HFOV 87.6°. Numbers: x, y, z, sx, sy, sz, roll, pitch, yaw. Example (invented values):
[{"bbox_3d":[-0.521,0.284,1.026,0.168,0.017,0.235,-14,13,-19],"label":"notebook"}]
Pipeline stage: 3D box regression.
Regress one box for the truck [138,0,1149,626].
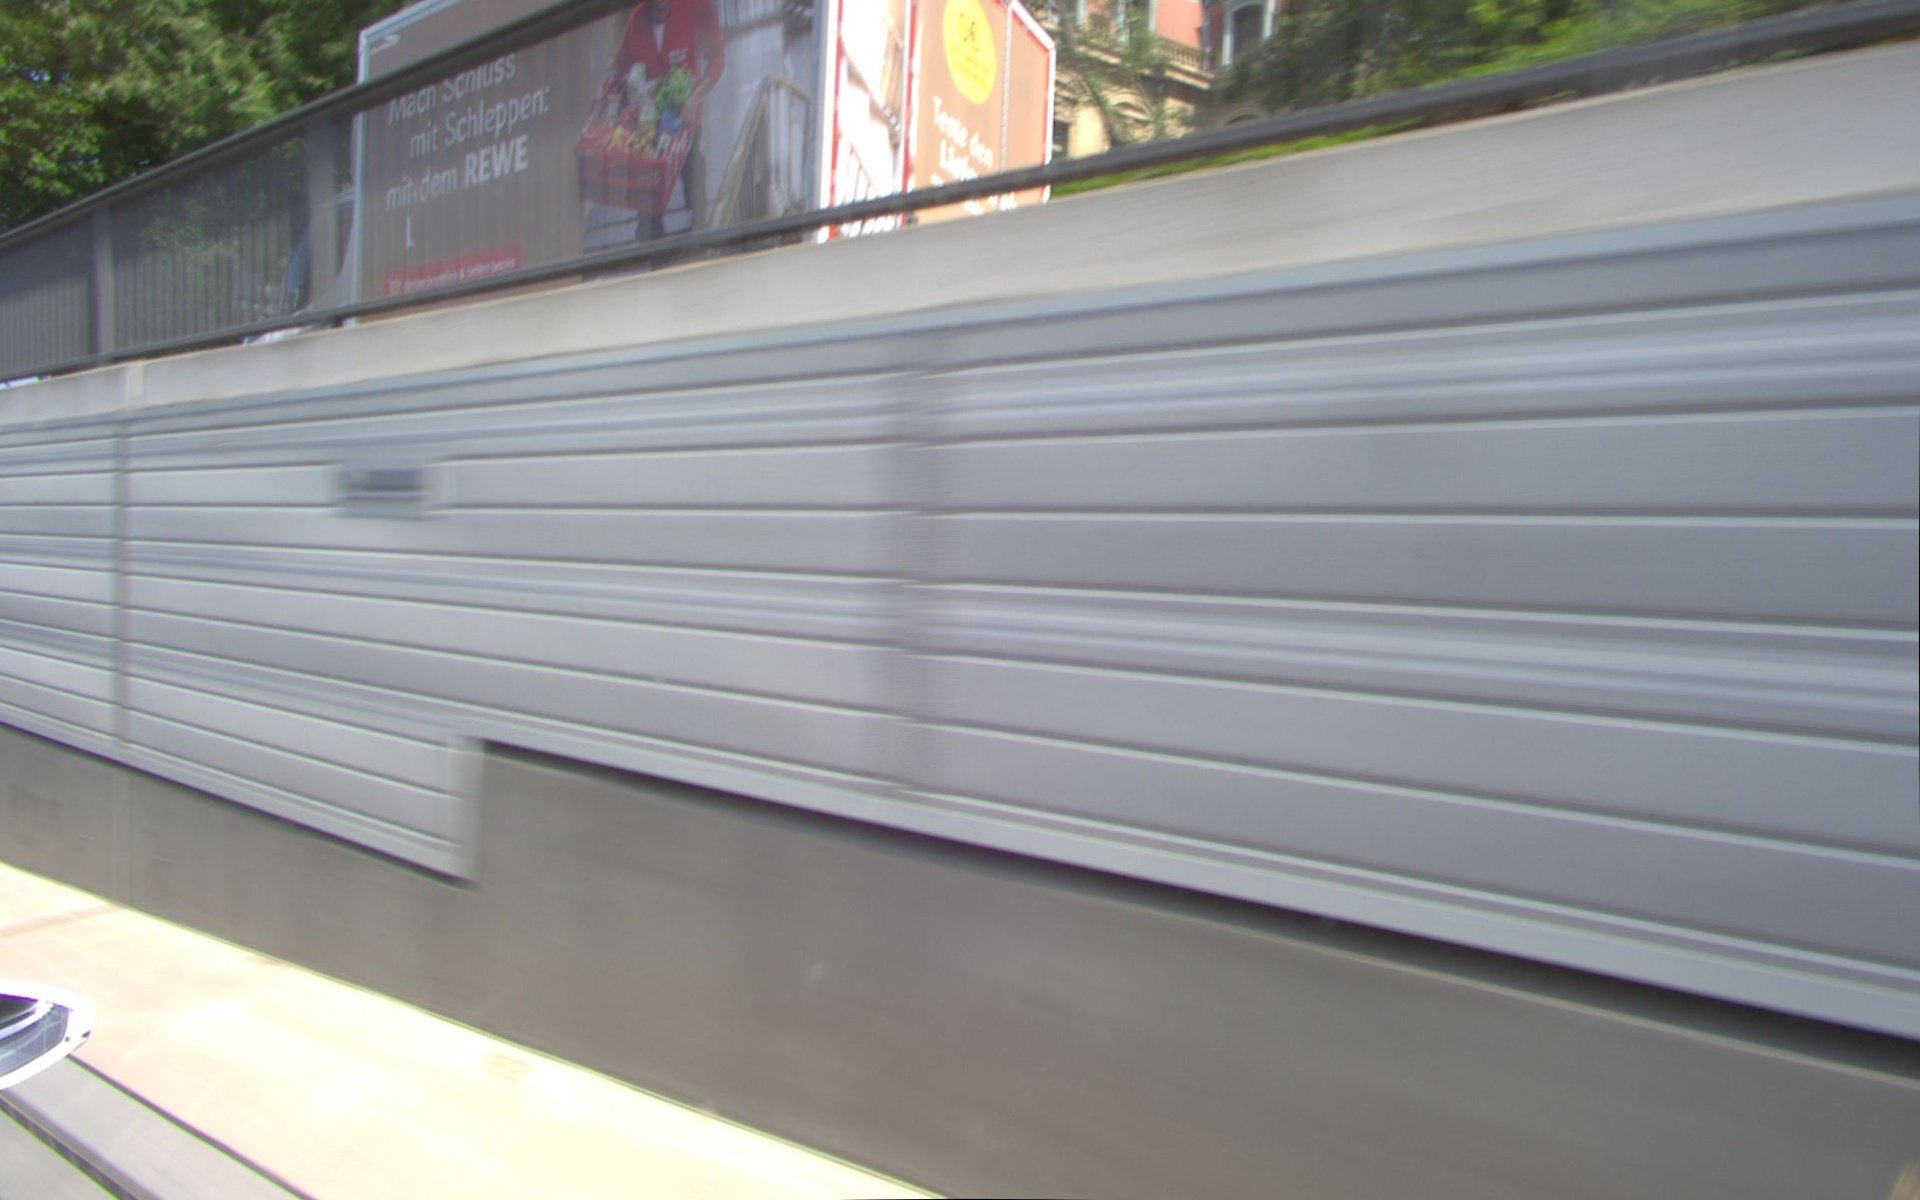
[{"bbox_3d":[-2.758,-1.403,7.151,7.708,3.099,2.498,-1,-2,33],"label":"truck"}]
